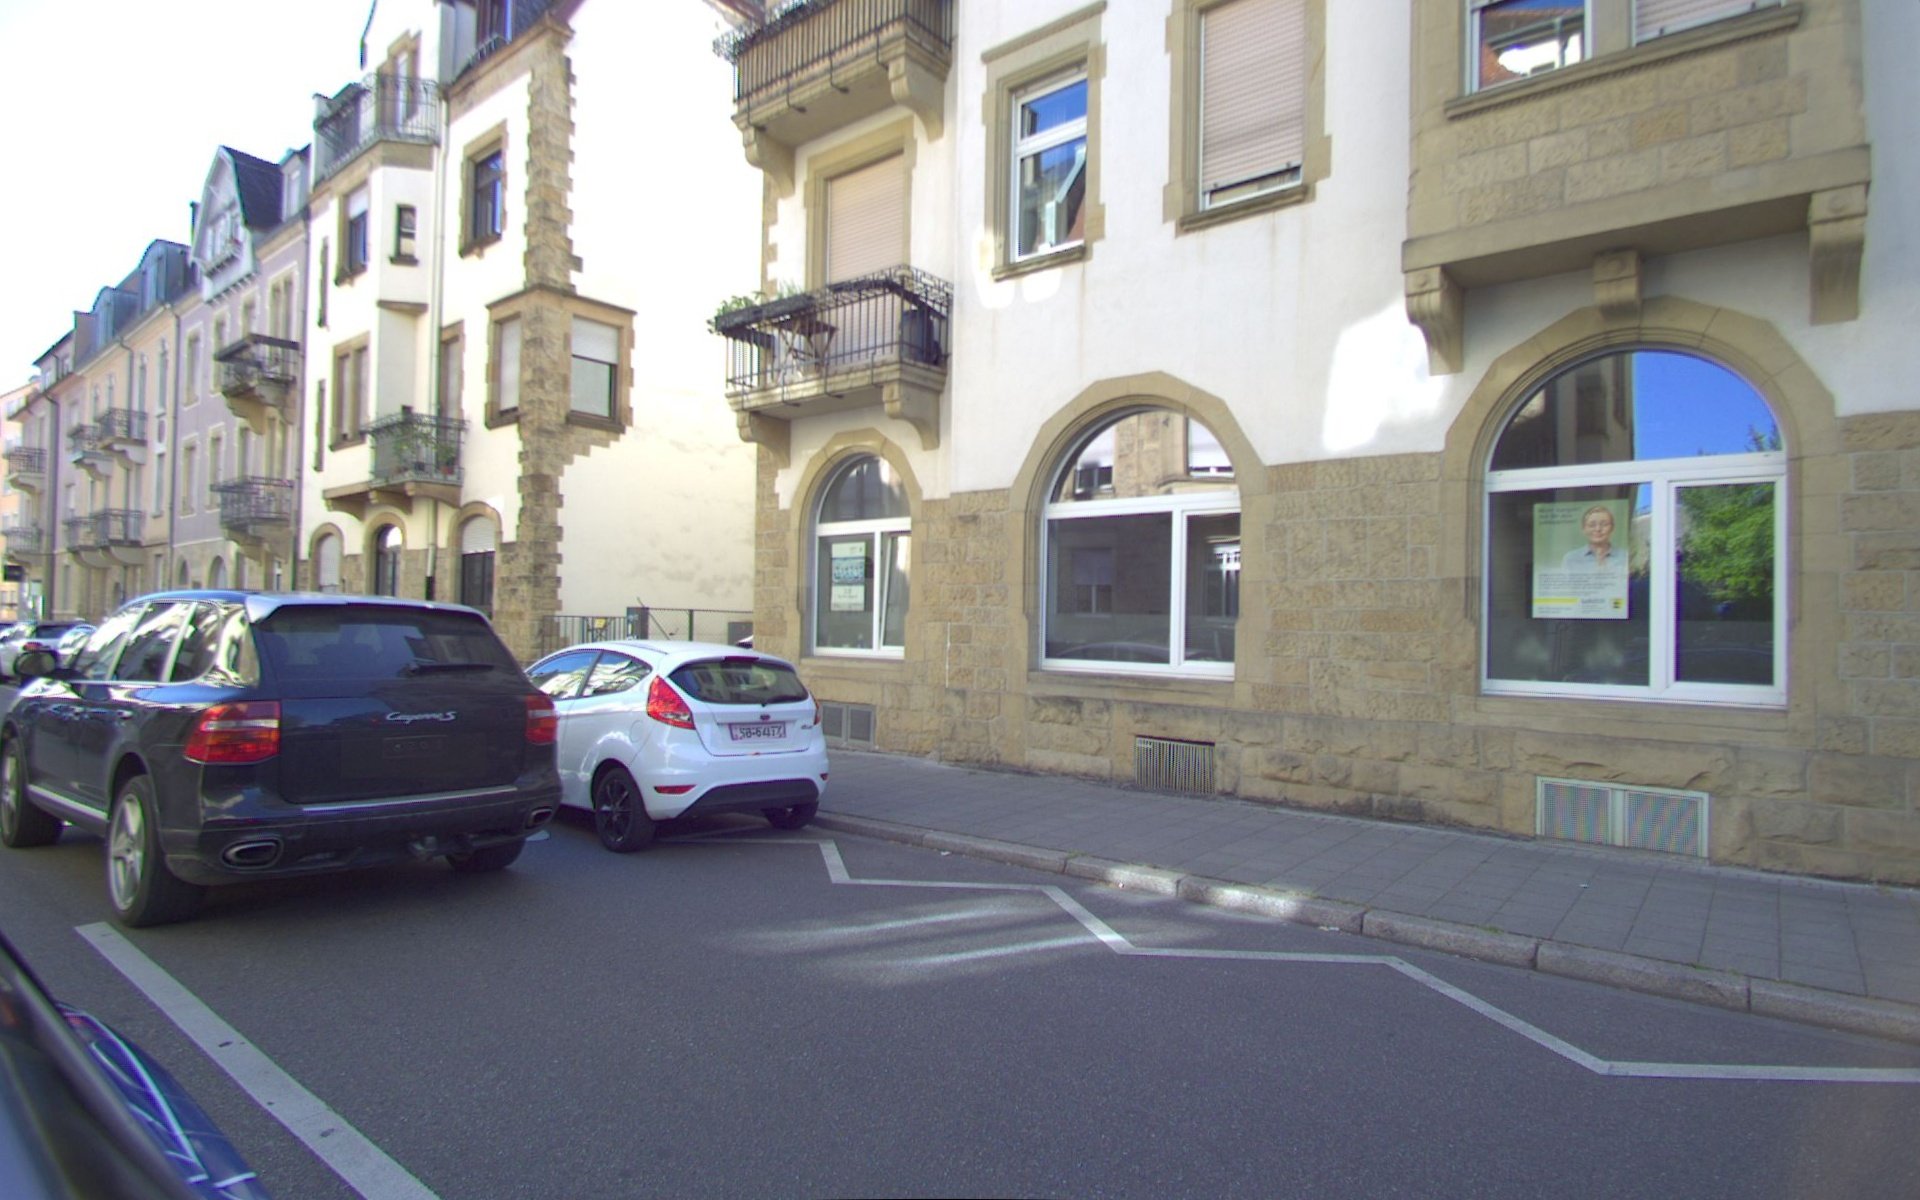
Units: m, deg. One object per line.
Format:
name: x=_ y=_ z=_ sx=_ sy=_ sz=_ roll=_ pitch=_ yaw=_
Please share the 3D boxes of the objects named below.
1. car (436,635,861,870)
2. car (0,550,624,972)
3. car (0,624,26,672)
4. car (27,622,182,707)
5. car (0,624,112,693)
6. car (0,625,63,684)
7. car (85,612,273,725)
car: x=-2.630 y=1.043 z=8.171 sx=3.601 sy=1.469 sz=1.634 roll=-2 pitch=-5 yaw=42
car: x=-4.423 y=0.760 z=6.376 sx=4.701 sy=1.707 sz=2.053 roll=-2 pitch=-5 yaw=37
car: x=-33.132 y=1.613 z=34.214 sx=4.319 sy=1.520 sz=1.866 roll=-1 pitch=0 yaw=41
car: x=-18.437 y=1.295 z=21.745 sx=4.319 sy=1.519 sz=1.866 roll=-1 pitch=2 yaw=41
car: x=-22.940 y=1.388 z=25.427 sx=4.319 sy=1.520 sz=1.866 roll=-1 pitch=0 yaw=41
car: x=-27.148 y=1.522 z=28.866 sx=4.317 sy=1.511 sz=1.833 roll=-1 pitch=0 yaw=41
car: x=-13.963 y=1.104 z=18.007 sx=4.209 sy=1.740 sz=1.866 roll=-1 pitch=0 yaw=41
